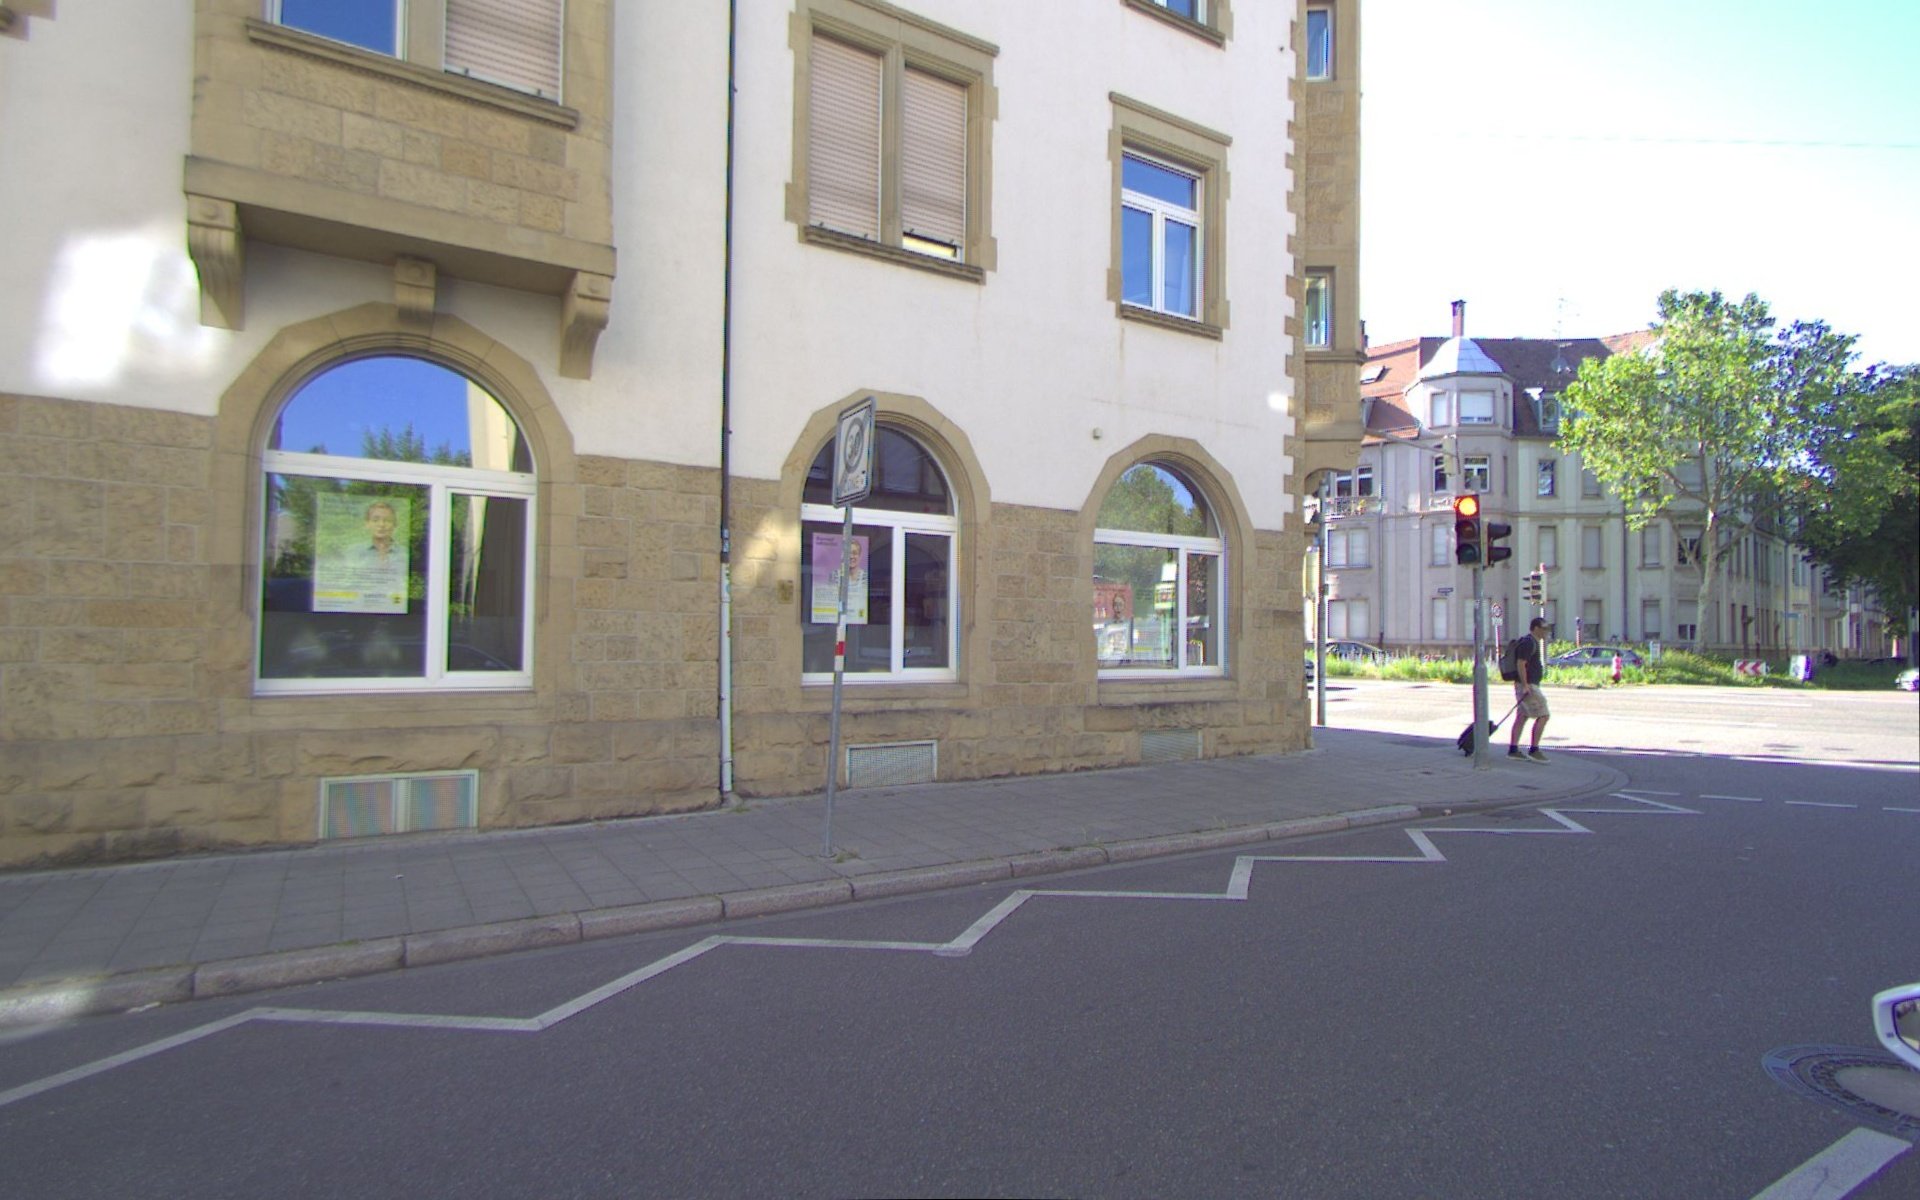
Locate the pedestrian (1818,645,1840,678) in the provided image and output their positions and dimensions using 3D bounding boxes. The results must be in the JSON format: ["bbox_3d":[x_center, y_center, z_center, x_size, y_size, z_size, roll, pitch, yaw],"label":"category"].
[{"bbox_3d":[39.894,2.807,46.101,0.694,1.461,0.488,2,0,38],"label":"pedestrian"}]

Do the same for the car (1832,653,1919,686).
[{"bbox_3d":[45.446,3.409,49.505,1.647,1.476,3.595,2,-2,-44],"label":"car"}]

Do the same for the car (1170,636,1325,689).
[{"bbox_3d":[8.560,1.824,30.091,4.155,1.476,1.669,-2,-2,42],"label":"car"}]

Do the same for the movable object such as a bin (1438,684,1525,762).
[{"bbox_3d":[6.608,1.544,12.750,0.506,0.904,0.854,2,-3,-42],"label":"movable object such as a bin"}]

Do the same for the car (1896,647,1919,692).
[{"bbox_3d":[33.021,2.284,32.483,3.892,1.419,1.639,-1,-2,40],"label":"car"}]

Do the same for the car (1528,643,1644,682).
[{"bbox_3d":[24.770,2.428,39.812,3.736,1.419,1.639,-1,-2,40],"label":"car"}]

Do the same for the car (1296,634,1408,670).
[{"bbox_3d":[16.807,2.204,43.199,4.216,1.419,1.639,-1,-2,40],"label":"car"}]

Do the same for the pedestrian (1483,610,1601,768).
[{"bbox_3d":[7.393,1.084,12.771,0.743,1.873,1.056,2,1,-42],"label":"pedestrian"}]
